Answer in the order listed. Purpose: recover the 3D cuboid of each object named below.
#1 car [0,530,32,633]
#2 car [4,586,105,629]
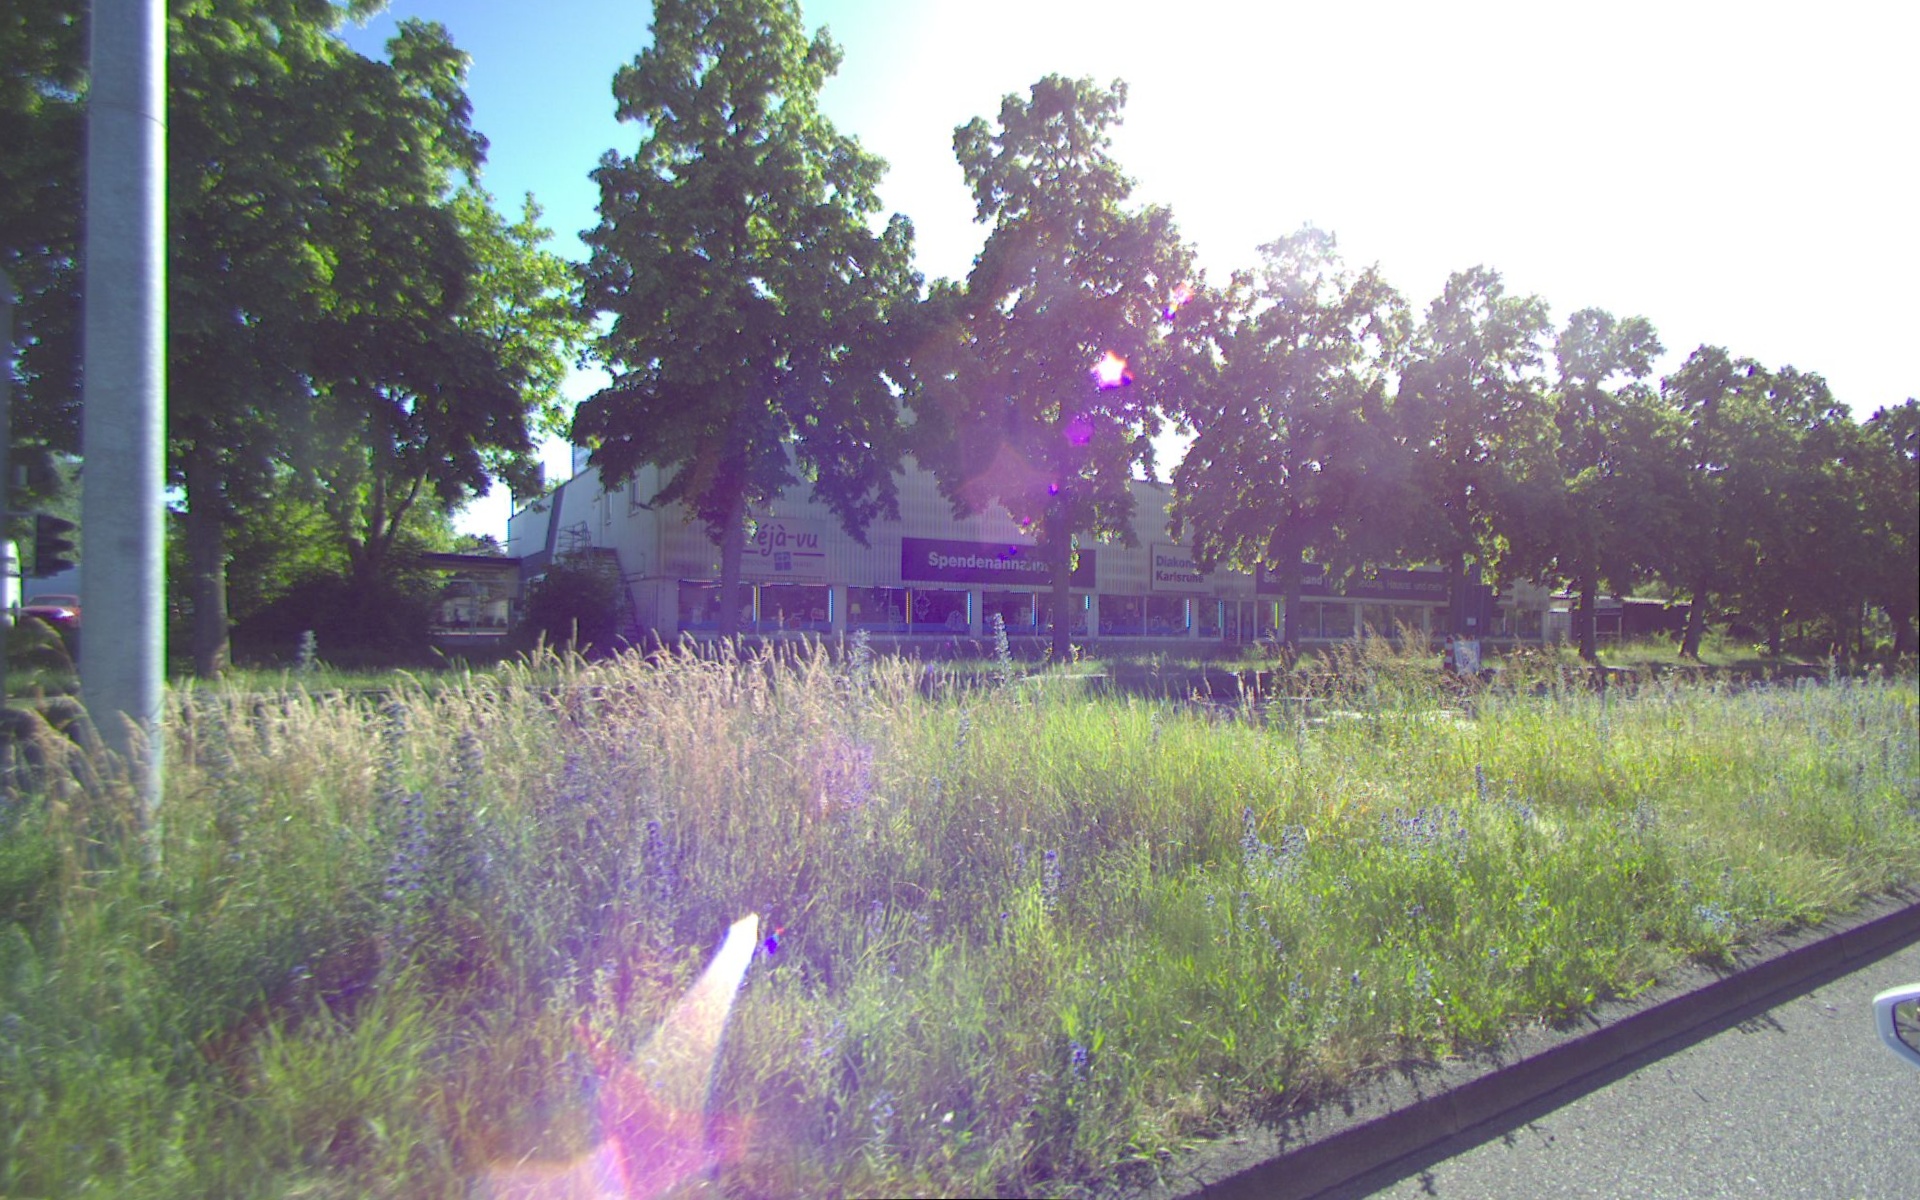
[{"bbox_3d":[-24.452,-0.460,24.204,2.185,2.465,5.840,2,-2,-34],"label":"car"},{"bbox_3d":[-33.562,0.312,37.364,1.873,1.474,4.100,1,-2,-29],"label":"car"}]
